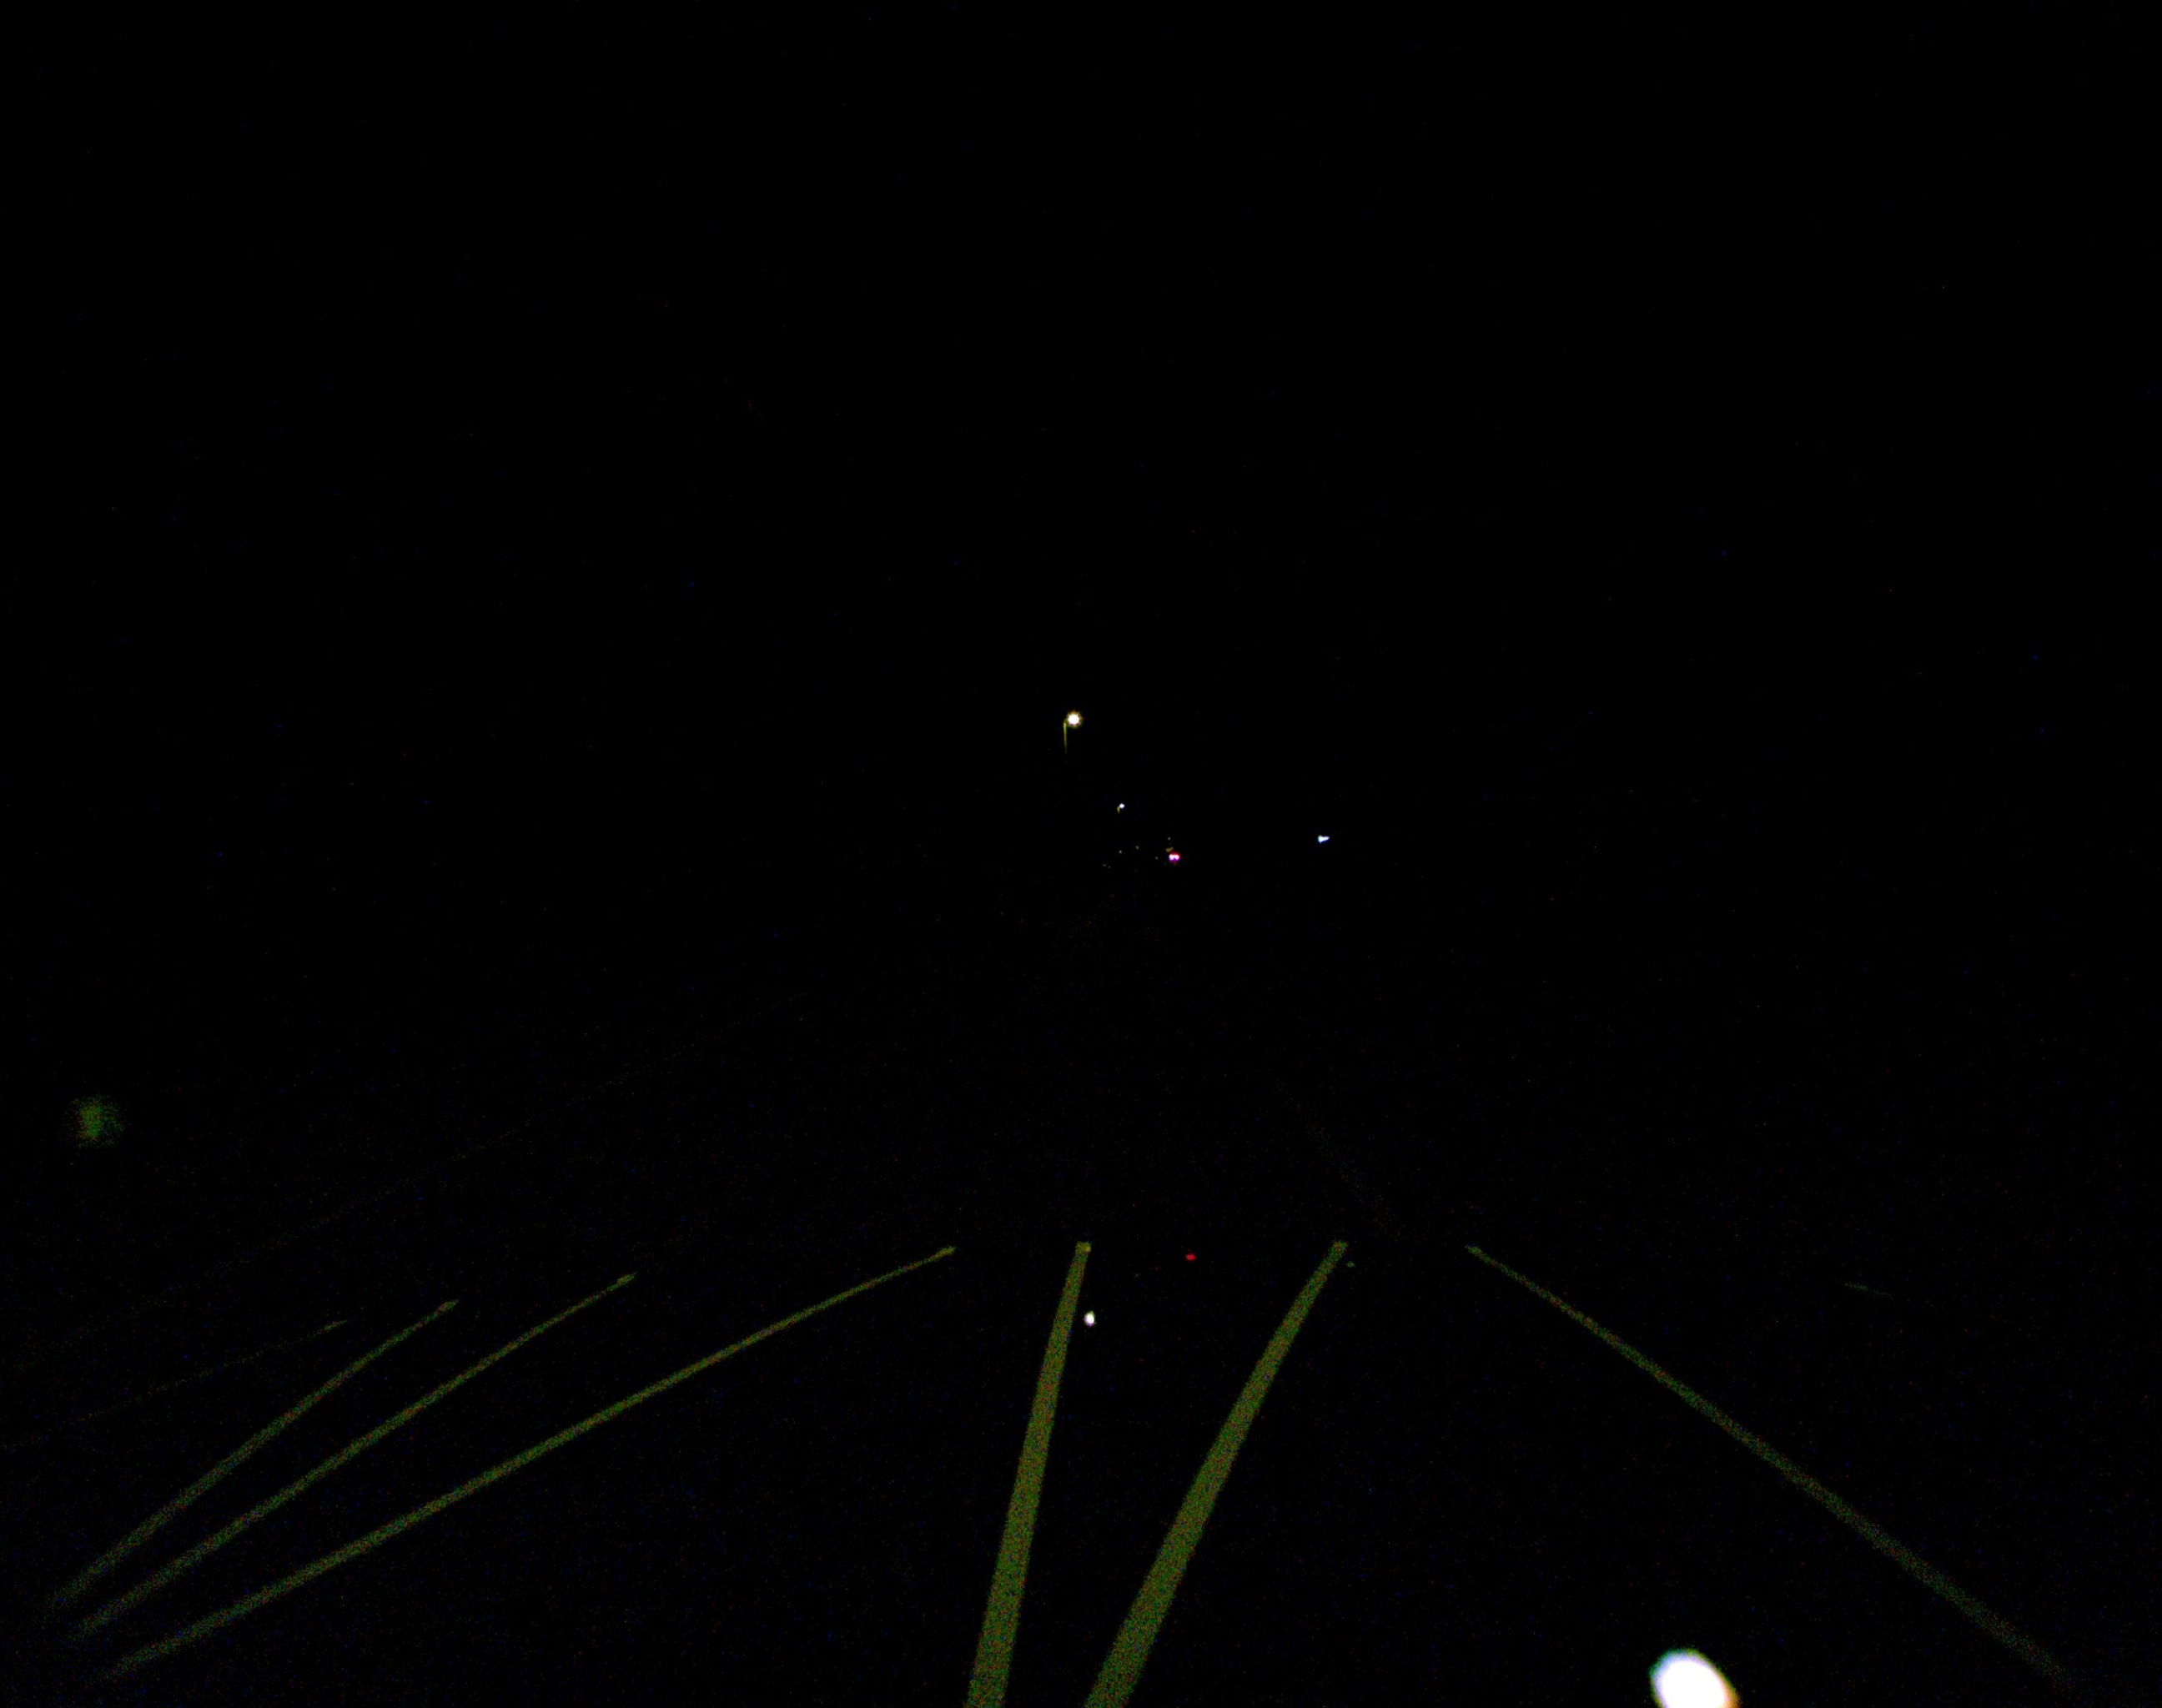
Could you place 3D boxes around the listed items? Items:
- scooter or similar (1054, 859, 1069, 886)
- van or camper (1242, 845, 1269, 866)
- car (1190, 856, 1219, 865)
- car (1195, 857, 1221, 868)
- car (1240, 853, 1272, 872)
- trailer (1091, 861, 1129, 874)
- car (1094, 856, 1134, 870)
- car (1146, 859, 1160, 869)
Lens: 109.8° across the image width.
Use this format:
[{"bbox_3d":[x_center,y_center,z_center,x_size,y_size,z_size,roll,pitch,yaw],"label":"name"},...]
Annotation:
[{"bbox_3d":[-1.001,0.916,38.649,0.613,1.274,1.689,-2,1,-4],"label":"scooter or similar"},{"bbox_3d":[24.499,0.273,106.842,2.080,2.730,5.928,-2,-1,-4],"label":"van or camper"},{"bbox_3d":[20.991,1.100,129.285,4.326,1.552,2.028,-1,-1,-10],"label":"car"},{"bbox_3d":[21.113,1.416,126.748,3.997,1.608,2.000,-1,-1,1],"label":"car"},{"bbox_3d":[14.939,0.730,65.125,1.677,1.581,3.986,-2,-1,-2],"label":"car"},{"bbox_3d":[2.782,1.321,72.814,3.441,0.996,1.954,-4,-1,-3],"label":"trailer"},{"bbox_3d":[2.971,0.839,68.361,3.401,1.224,1.724,-1,-1,-4],"label":"car"},{"bbox_3d":[11.810,1.665,124.842,1.754,1.460,4.008,-2,-1,-4],"label":"car"}]
